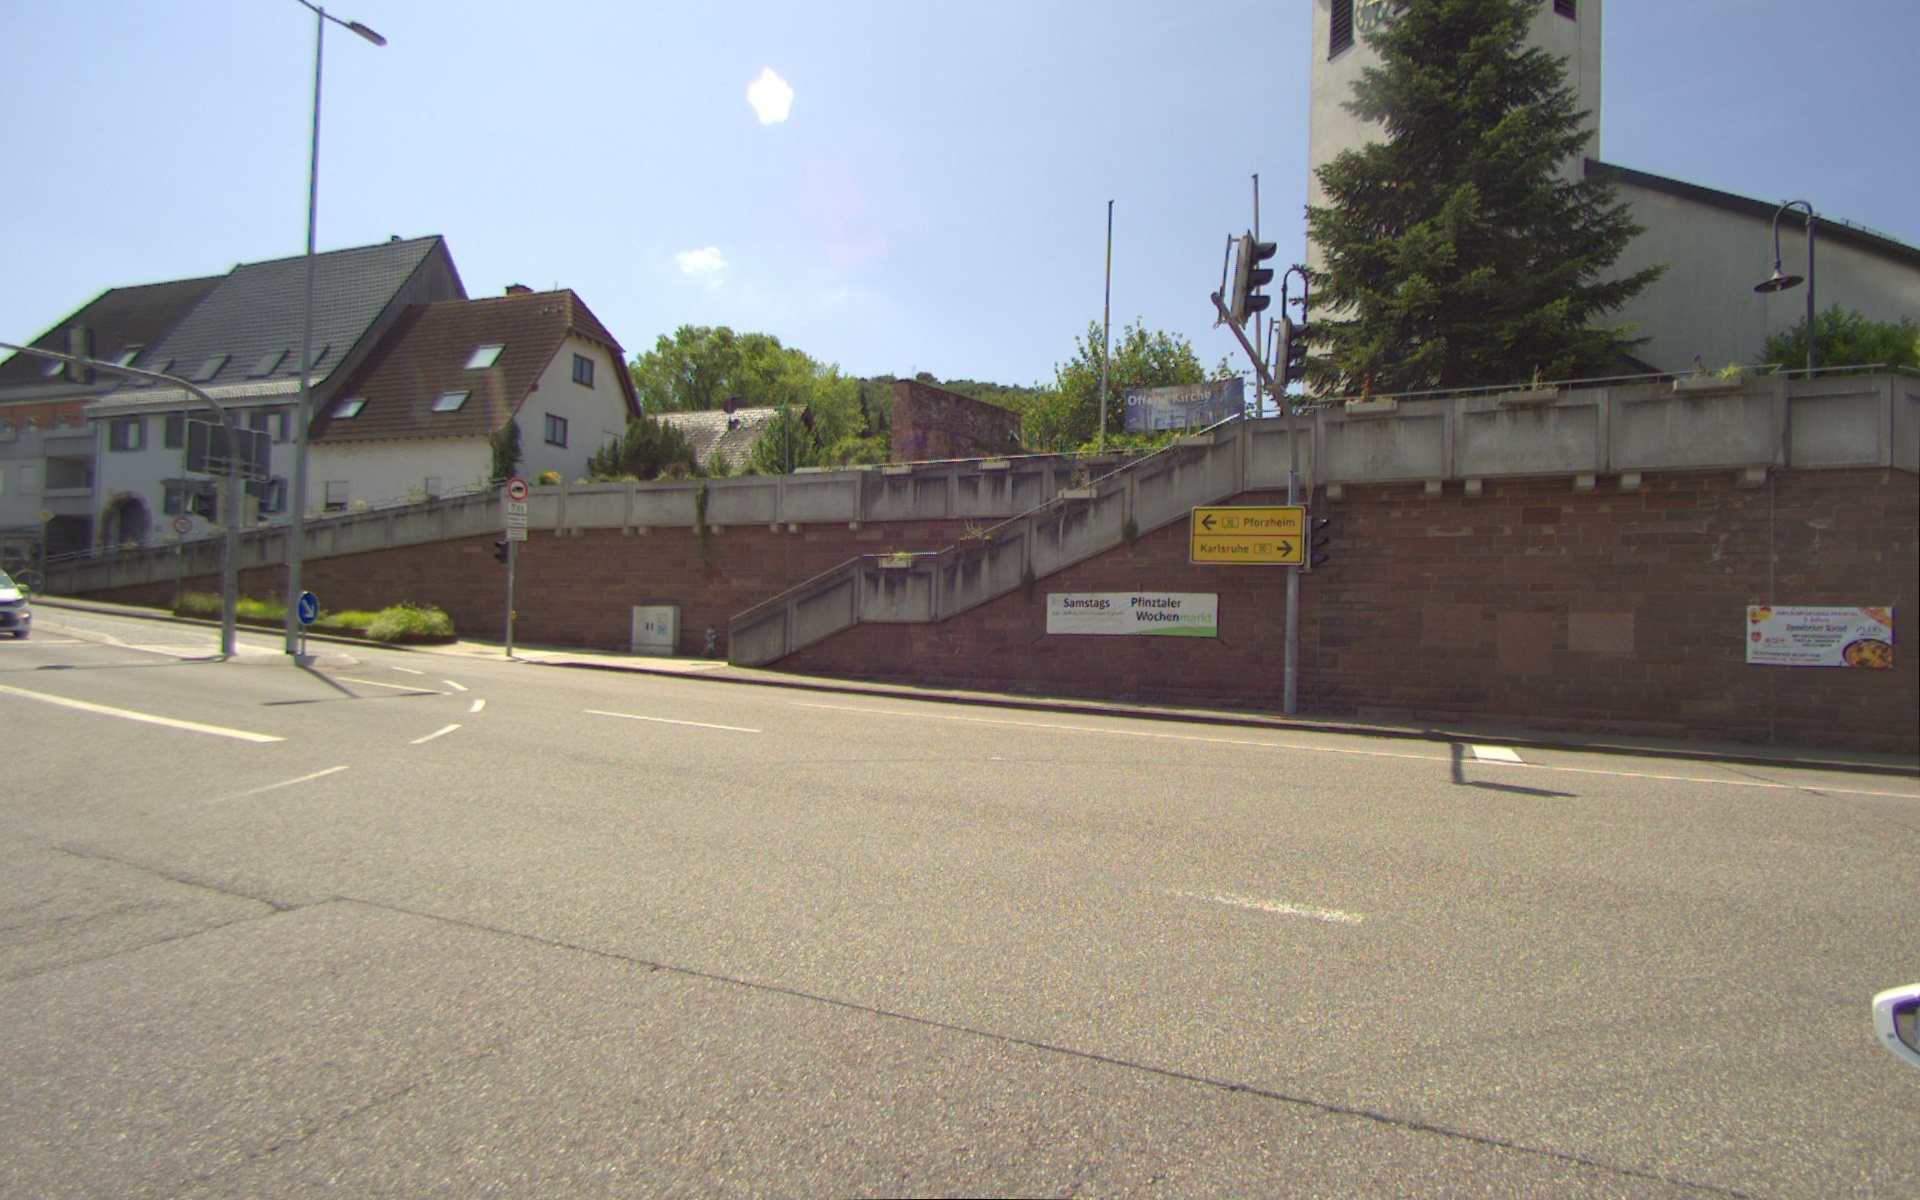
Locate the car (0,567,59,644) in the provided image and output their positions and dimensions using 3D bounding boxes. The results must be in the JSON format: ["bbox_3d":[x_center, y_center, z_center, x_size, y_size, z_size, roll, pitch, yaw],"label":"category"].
[{"bbox_3d":[-20.793,0.055,20.988,3.930,1.499,1.860,3,0,32],"label":"car"}]
